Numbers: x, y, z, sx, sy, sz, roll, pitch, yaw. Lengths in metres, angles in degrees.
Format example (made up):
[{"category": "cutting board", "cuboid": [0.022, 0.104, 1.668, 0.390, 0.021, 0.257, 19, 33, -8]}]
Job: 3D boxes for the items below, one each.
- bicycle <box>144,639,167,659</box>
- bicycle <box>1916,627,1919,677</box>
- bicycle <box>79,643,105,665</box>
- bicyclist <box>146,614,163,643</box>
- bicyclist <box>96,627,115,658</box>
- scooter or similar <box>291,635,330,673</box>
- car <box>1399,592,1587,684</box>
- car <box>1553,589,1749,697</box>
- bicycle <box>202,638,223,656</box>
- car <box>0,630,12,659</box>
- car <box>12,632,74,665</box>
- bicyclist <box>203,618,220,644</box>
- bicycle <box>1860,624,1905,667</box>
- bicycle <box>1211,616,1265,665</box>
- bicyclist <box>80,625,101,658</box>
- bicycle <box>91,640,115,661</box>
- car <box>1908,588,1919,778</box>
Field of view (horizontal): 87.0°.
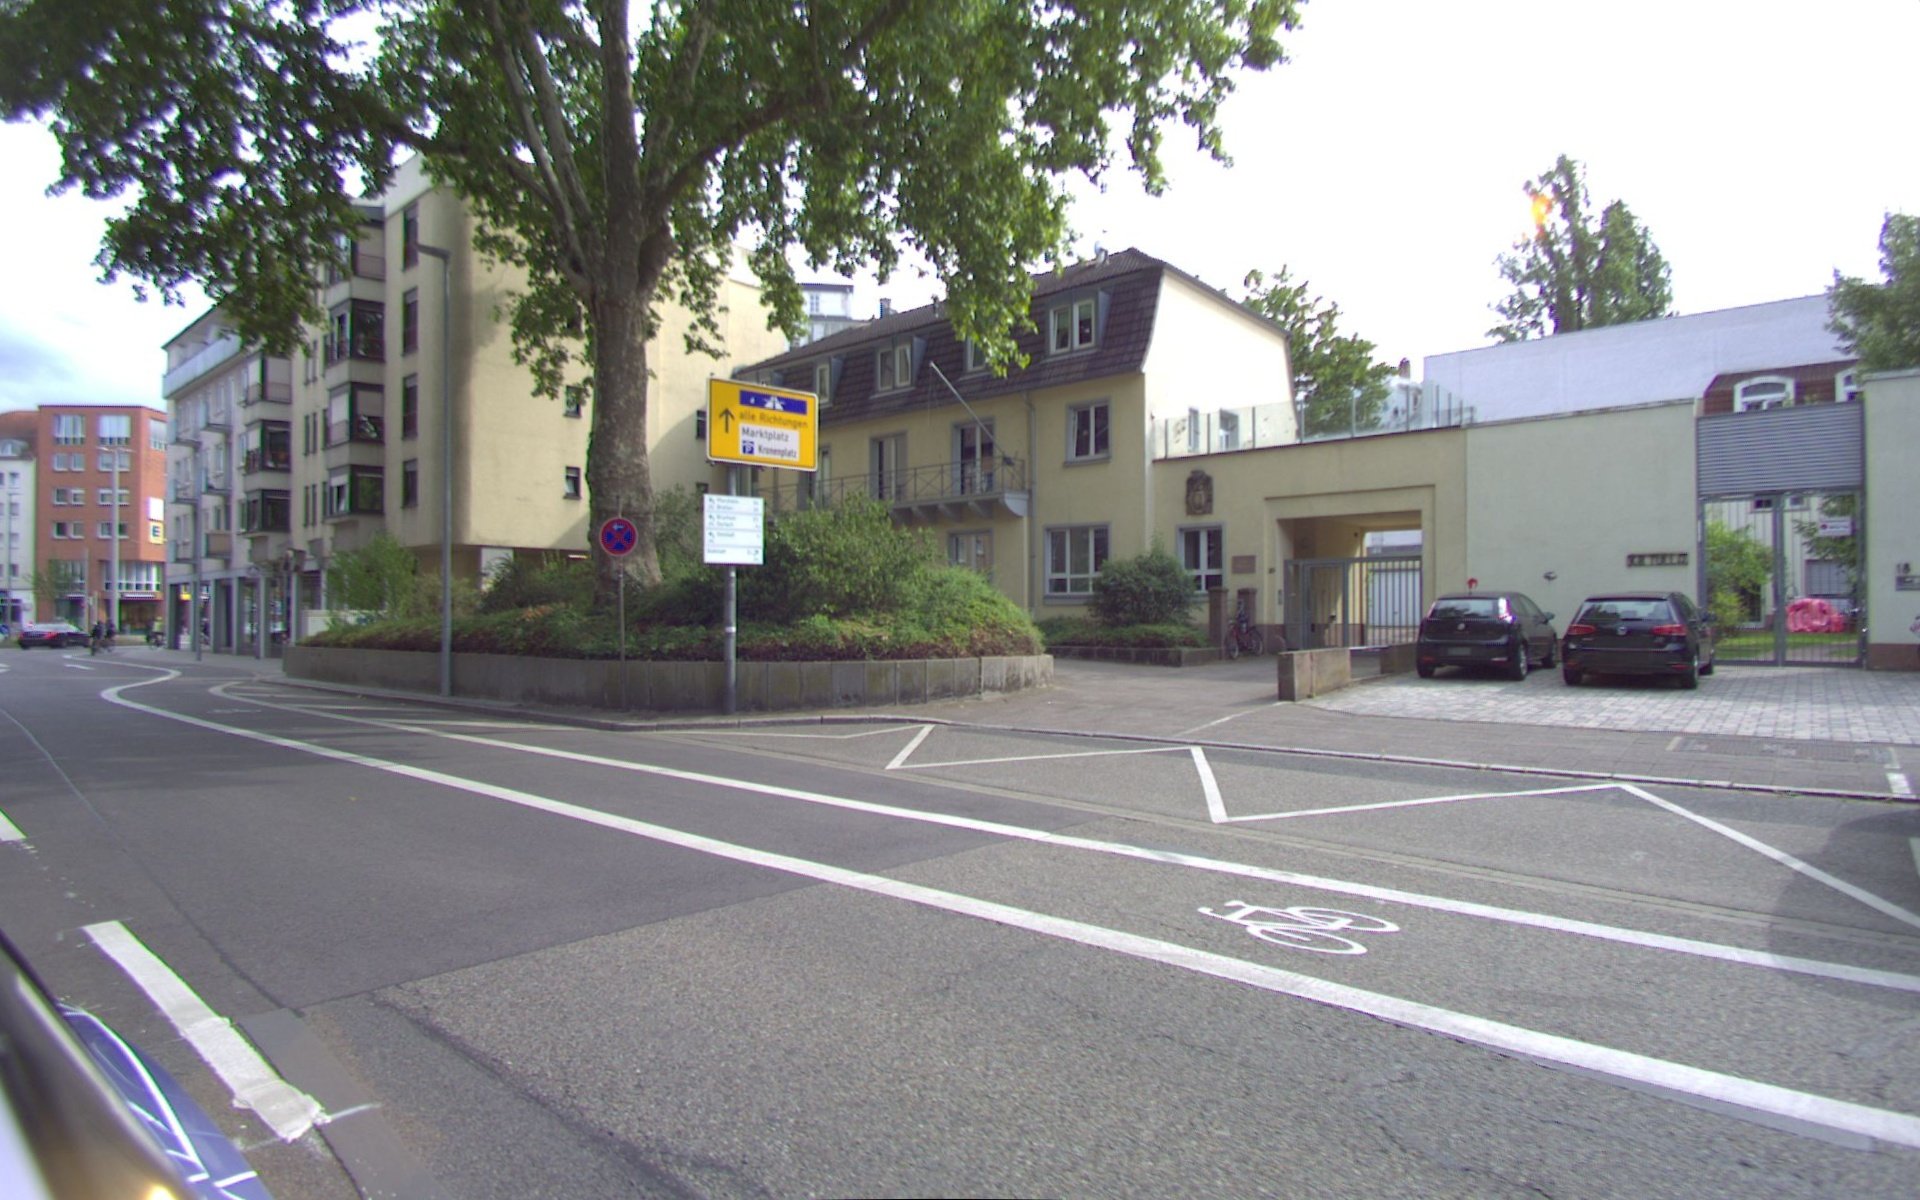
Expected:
[{"category": "bicycle", "cuboid": [-44.246, 2.709, 55.658, 0.729, 1.014, 2.253, -1, -2, -45]}, {"category": "bicycle", "cuboid": [14.240, 0.777, 14.577, 0.489, 0.748, 1.964, -2, -2, 38]}, {"category": "bicycle", "cuboid": [-41.222, 2.563, 48.047, 2.196, 1.014, 0.729, -4, -2, 44]}, {"category": "bicyclist", "cuboid": [-44.312, 1.564, 55.675, 0.649, 1.537, 0.841, -1, -2, -45]}, {"category": "bicyclist", "cuboid": [-43.514, 2.176, 51.507, 0.649, 1.537, 0.857, -1, -2, -45]}, {"category": "scooter or similar", "cuboid": [-21.985, 1.841, 34.273, 1.161, 1.274, 0.286, 0, -2, 4]}, {"category": "car", "cuboid": [9.735, 0.637, 18.351, 3.941, 1.431, 1.892, -1, -2, -45]}, {"category": "car", "cuboid": [11.215, 0.590, 16.324, 1.919, 1.477, 3.941, 0, 1, 45]}, {"category": "bicycle", "cuboid": [-44.783, 2.813, 60.603, 0.729, 1.014, 1.910, 0, 0, -44]}, {"category": "car", "cuboid": [-62.772, 2.882, 64.403, 1.966, 1.893, 4.011, 0, -1, -16]}, {"category": "car", "cuboid": [-50.212, 2.689, 55.488, 1.786, 1.419, 4.620, -1, -6, -33]}, {"category": "bicyclist", "cuboid": [-44.776, 1.847, 60.520, 0.649, 1.537, 1.003, -1, 1, -45]}, {"category": "bicycle", "cuboid": [17.125, 0.824, 18.779, 1.960, 0.748, 0.490, 0, -2, -44]}, {"category": "bicycle", "cuboid": [6.483, 0.921, 23.553, 0.399, 1.052, 1.779, -4, -2, 42]}, {"category": "bicyclist", "cuboid": [-41.381, 1.960, 48.149, 0.649, 1.537, 1.077, -1, -2, -45]}, {"category": "bicycle", "cuboid": [-43.776, 2.582, 51.689, 1.976, 1.014, 0.729, -4, -2, 44]}, {"category": "car", "cuboid": [6.733, 0.702, 5.598, 1.967, 1.618, 4.212, -3, -1, 41]}]
